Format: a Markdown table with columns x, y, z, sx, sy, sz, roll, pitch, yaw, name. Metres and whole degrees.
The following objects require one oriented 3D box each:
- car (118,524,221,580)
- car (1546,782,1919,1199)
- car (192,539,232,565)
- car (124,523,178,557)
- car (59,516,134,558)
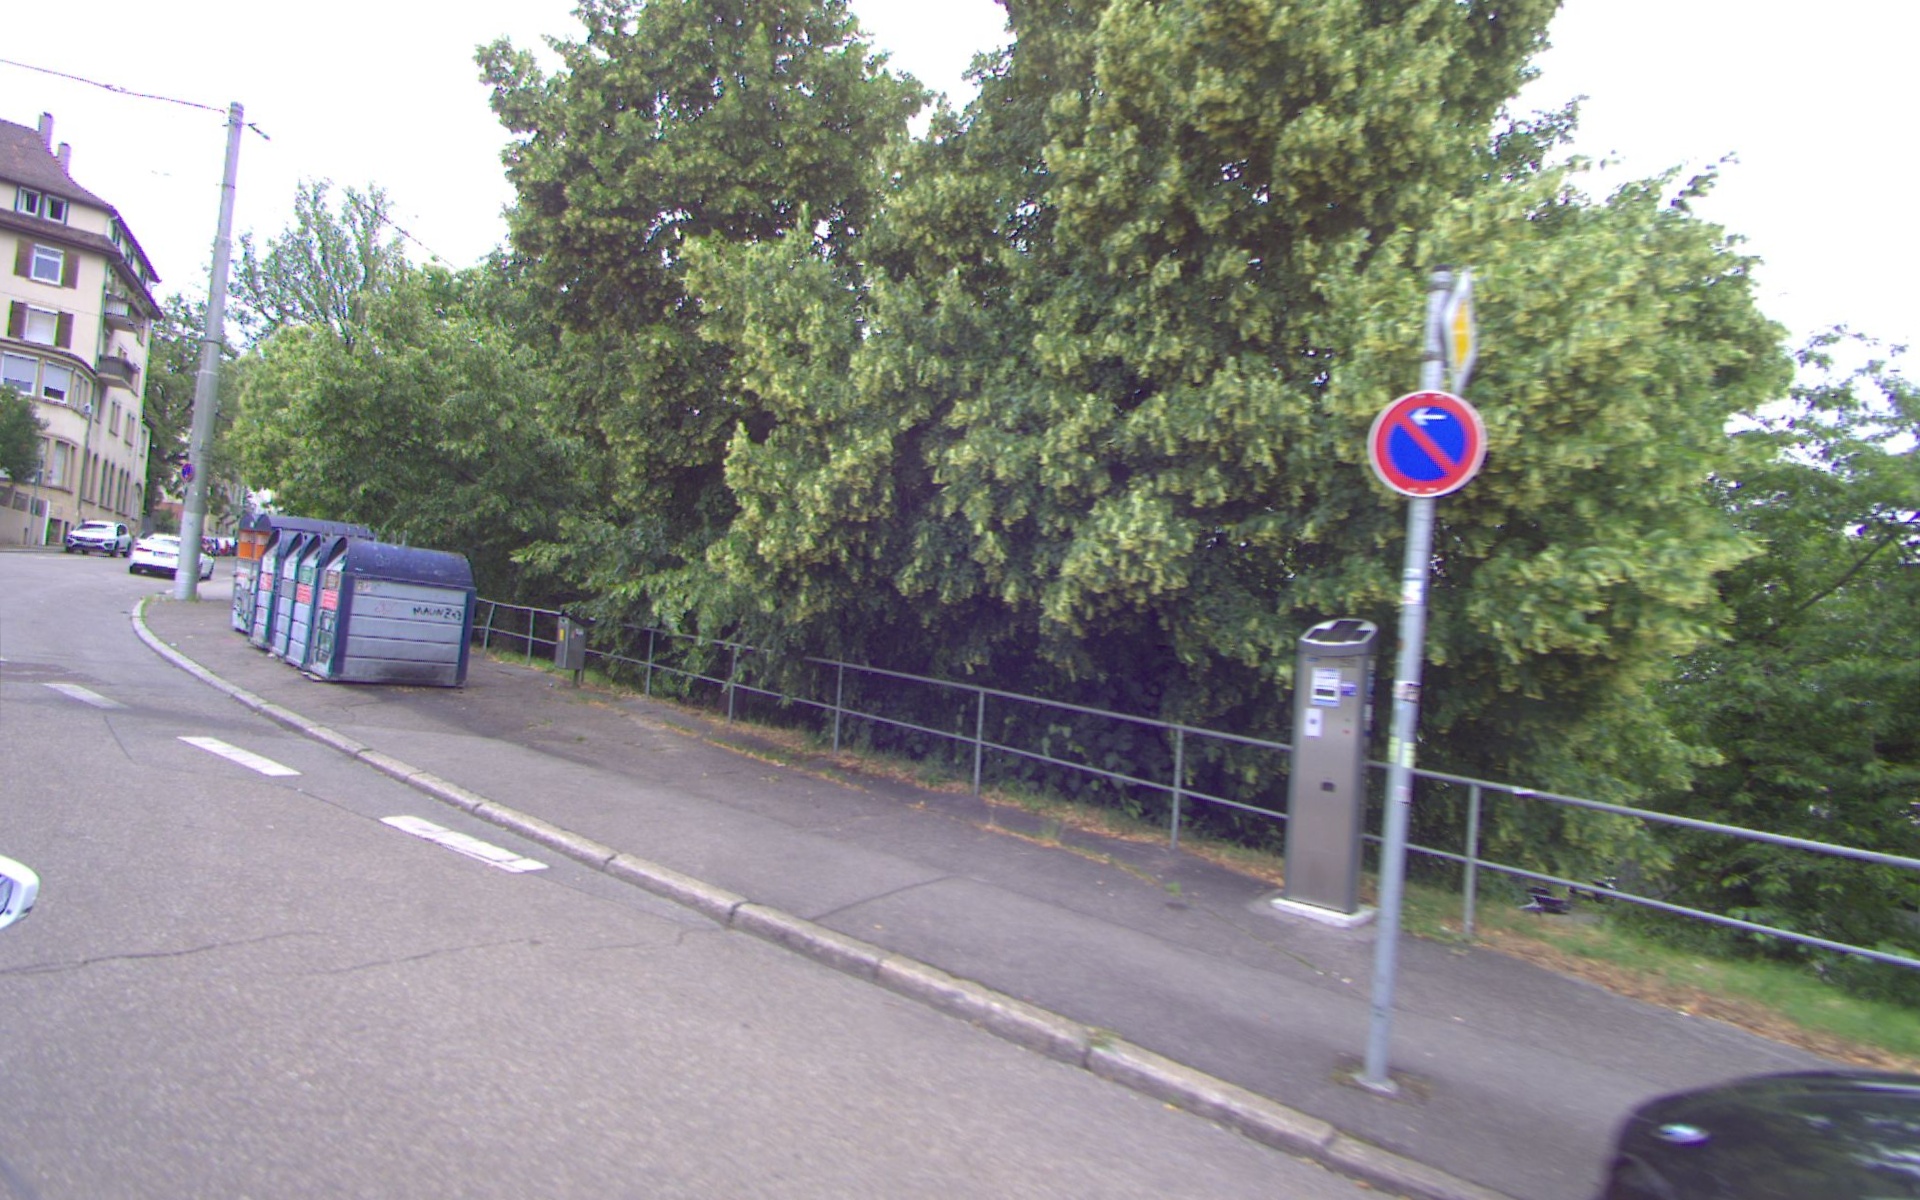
| x | y | z | sx | sy | sz | roll | pitch | yaw | name |
| --- | --- | --- | --- | --- | --- | --- | --- | --- | --- |
| -26.914 | -1.600 | 34.412 | 1.979 | 1.496 | 4.432 | 8 | -2 | -30 | car |
| 3.393 | 1.375 | 0.995 | 4.766 | 1.445 | 1.833 | 6 | -3 | 31 | car |
| -55.457 | -3.545 | 74.653 | 1.981 | 1.636 | 3.966 | 8 | -2 | -33 | car |
| -47.951 | -3.538 | 59.703 | 1.981 | 1.636 | 3.966 | 8 | -2 | -33 | car |
| -39.880 | -2.869 | 46.567 | 1.981 | 1.570 | 3.966 | 8 | -2 | -33 | car |
